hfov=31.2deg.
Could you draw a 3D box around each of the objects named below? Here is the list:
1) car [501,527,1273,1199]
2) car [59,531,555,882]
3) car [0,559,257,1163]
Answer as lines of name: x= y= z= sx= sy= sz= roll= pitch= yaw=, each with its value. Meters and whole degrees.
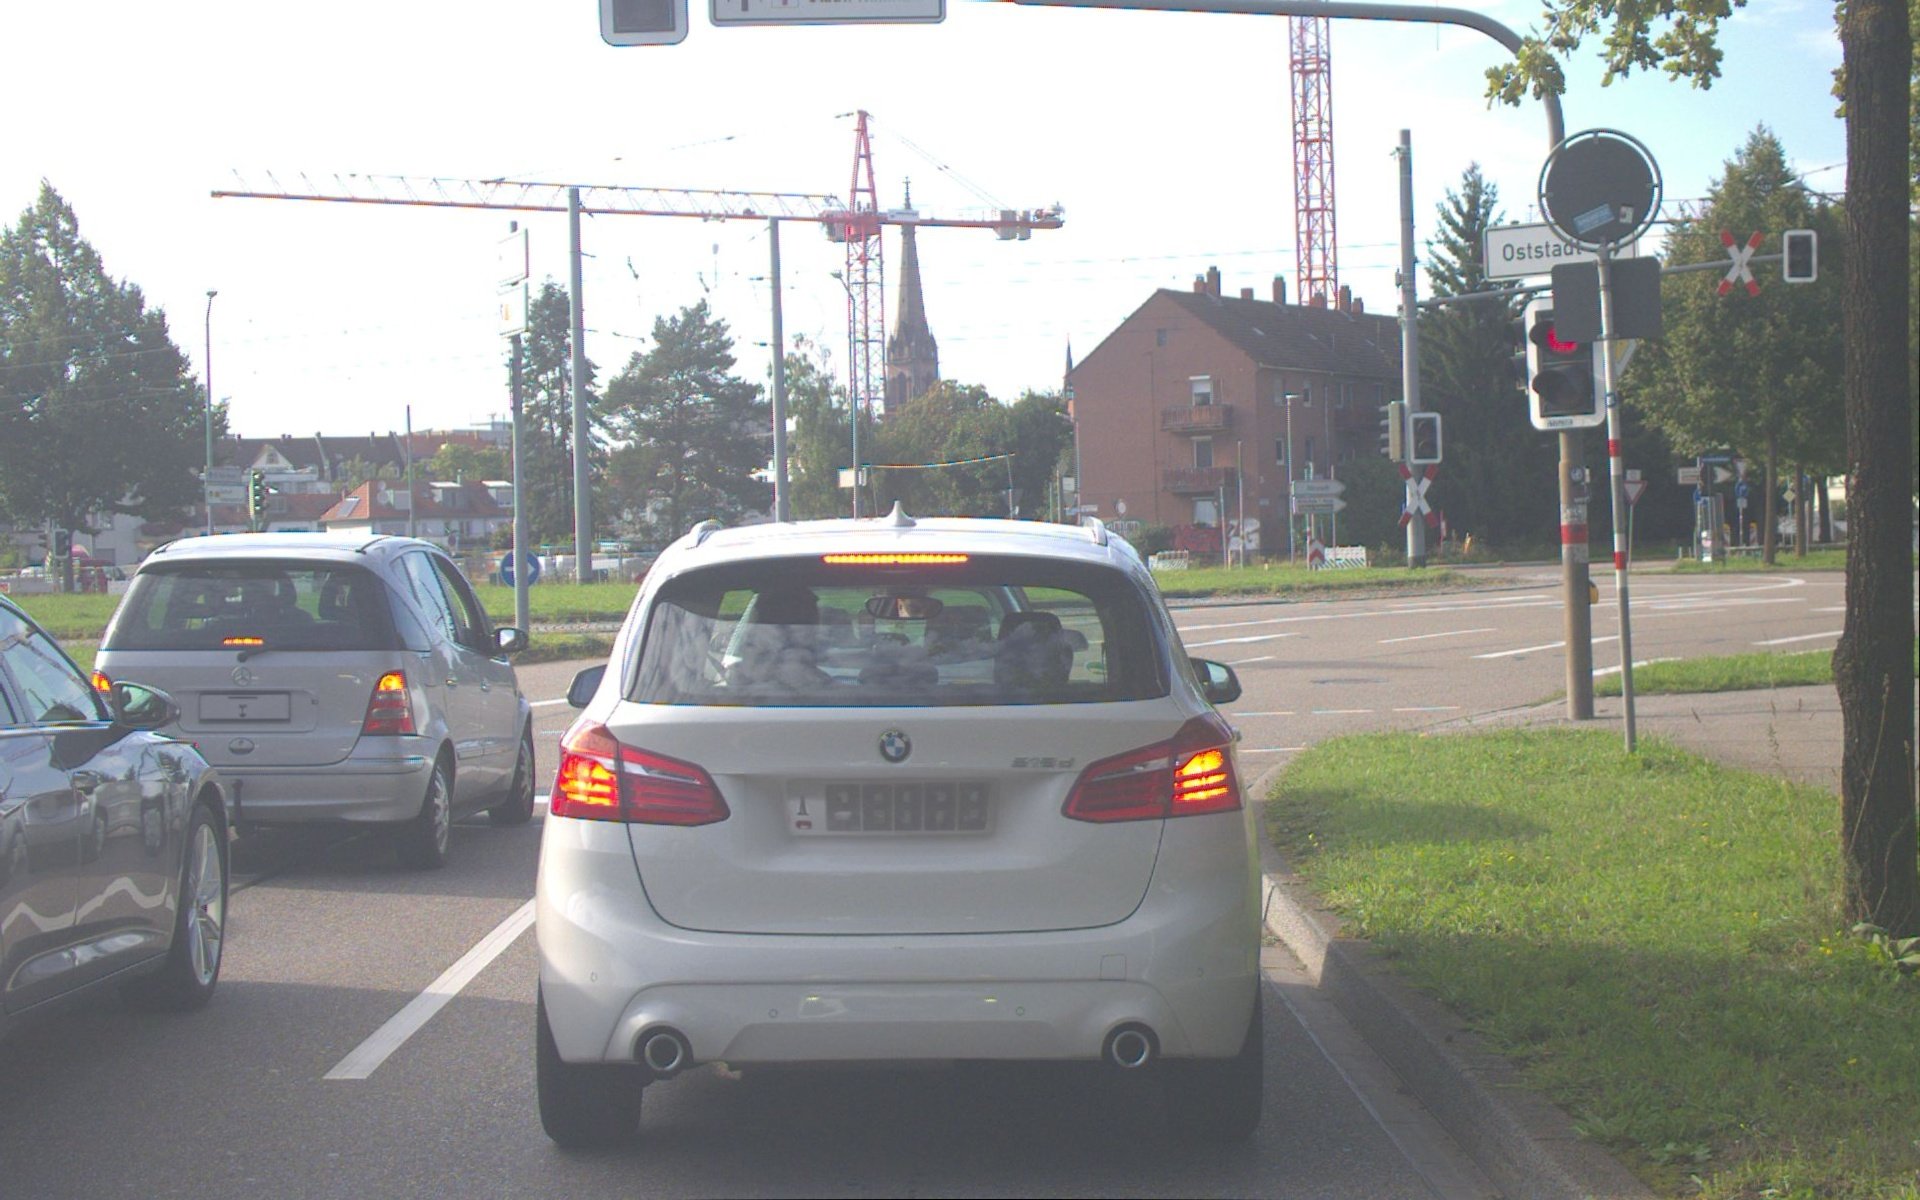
car: x=-0.189 y=0.579 z=9.747 sx=1.729 sy=1.553 sz=4.058 roll=0 pitch=1 yaw=-1
car: x=-3.129 y=0.436 z=17.245 sx=1.729 sy=1.553 sz=4.058 roll=0 pitch=1 yaw=0
car: x=-3.308 y=0.630 z=9.383 sx=1.890 sy=1.478 sz=4.613 roll=0 pitch=1 yaw=-1
